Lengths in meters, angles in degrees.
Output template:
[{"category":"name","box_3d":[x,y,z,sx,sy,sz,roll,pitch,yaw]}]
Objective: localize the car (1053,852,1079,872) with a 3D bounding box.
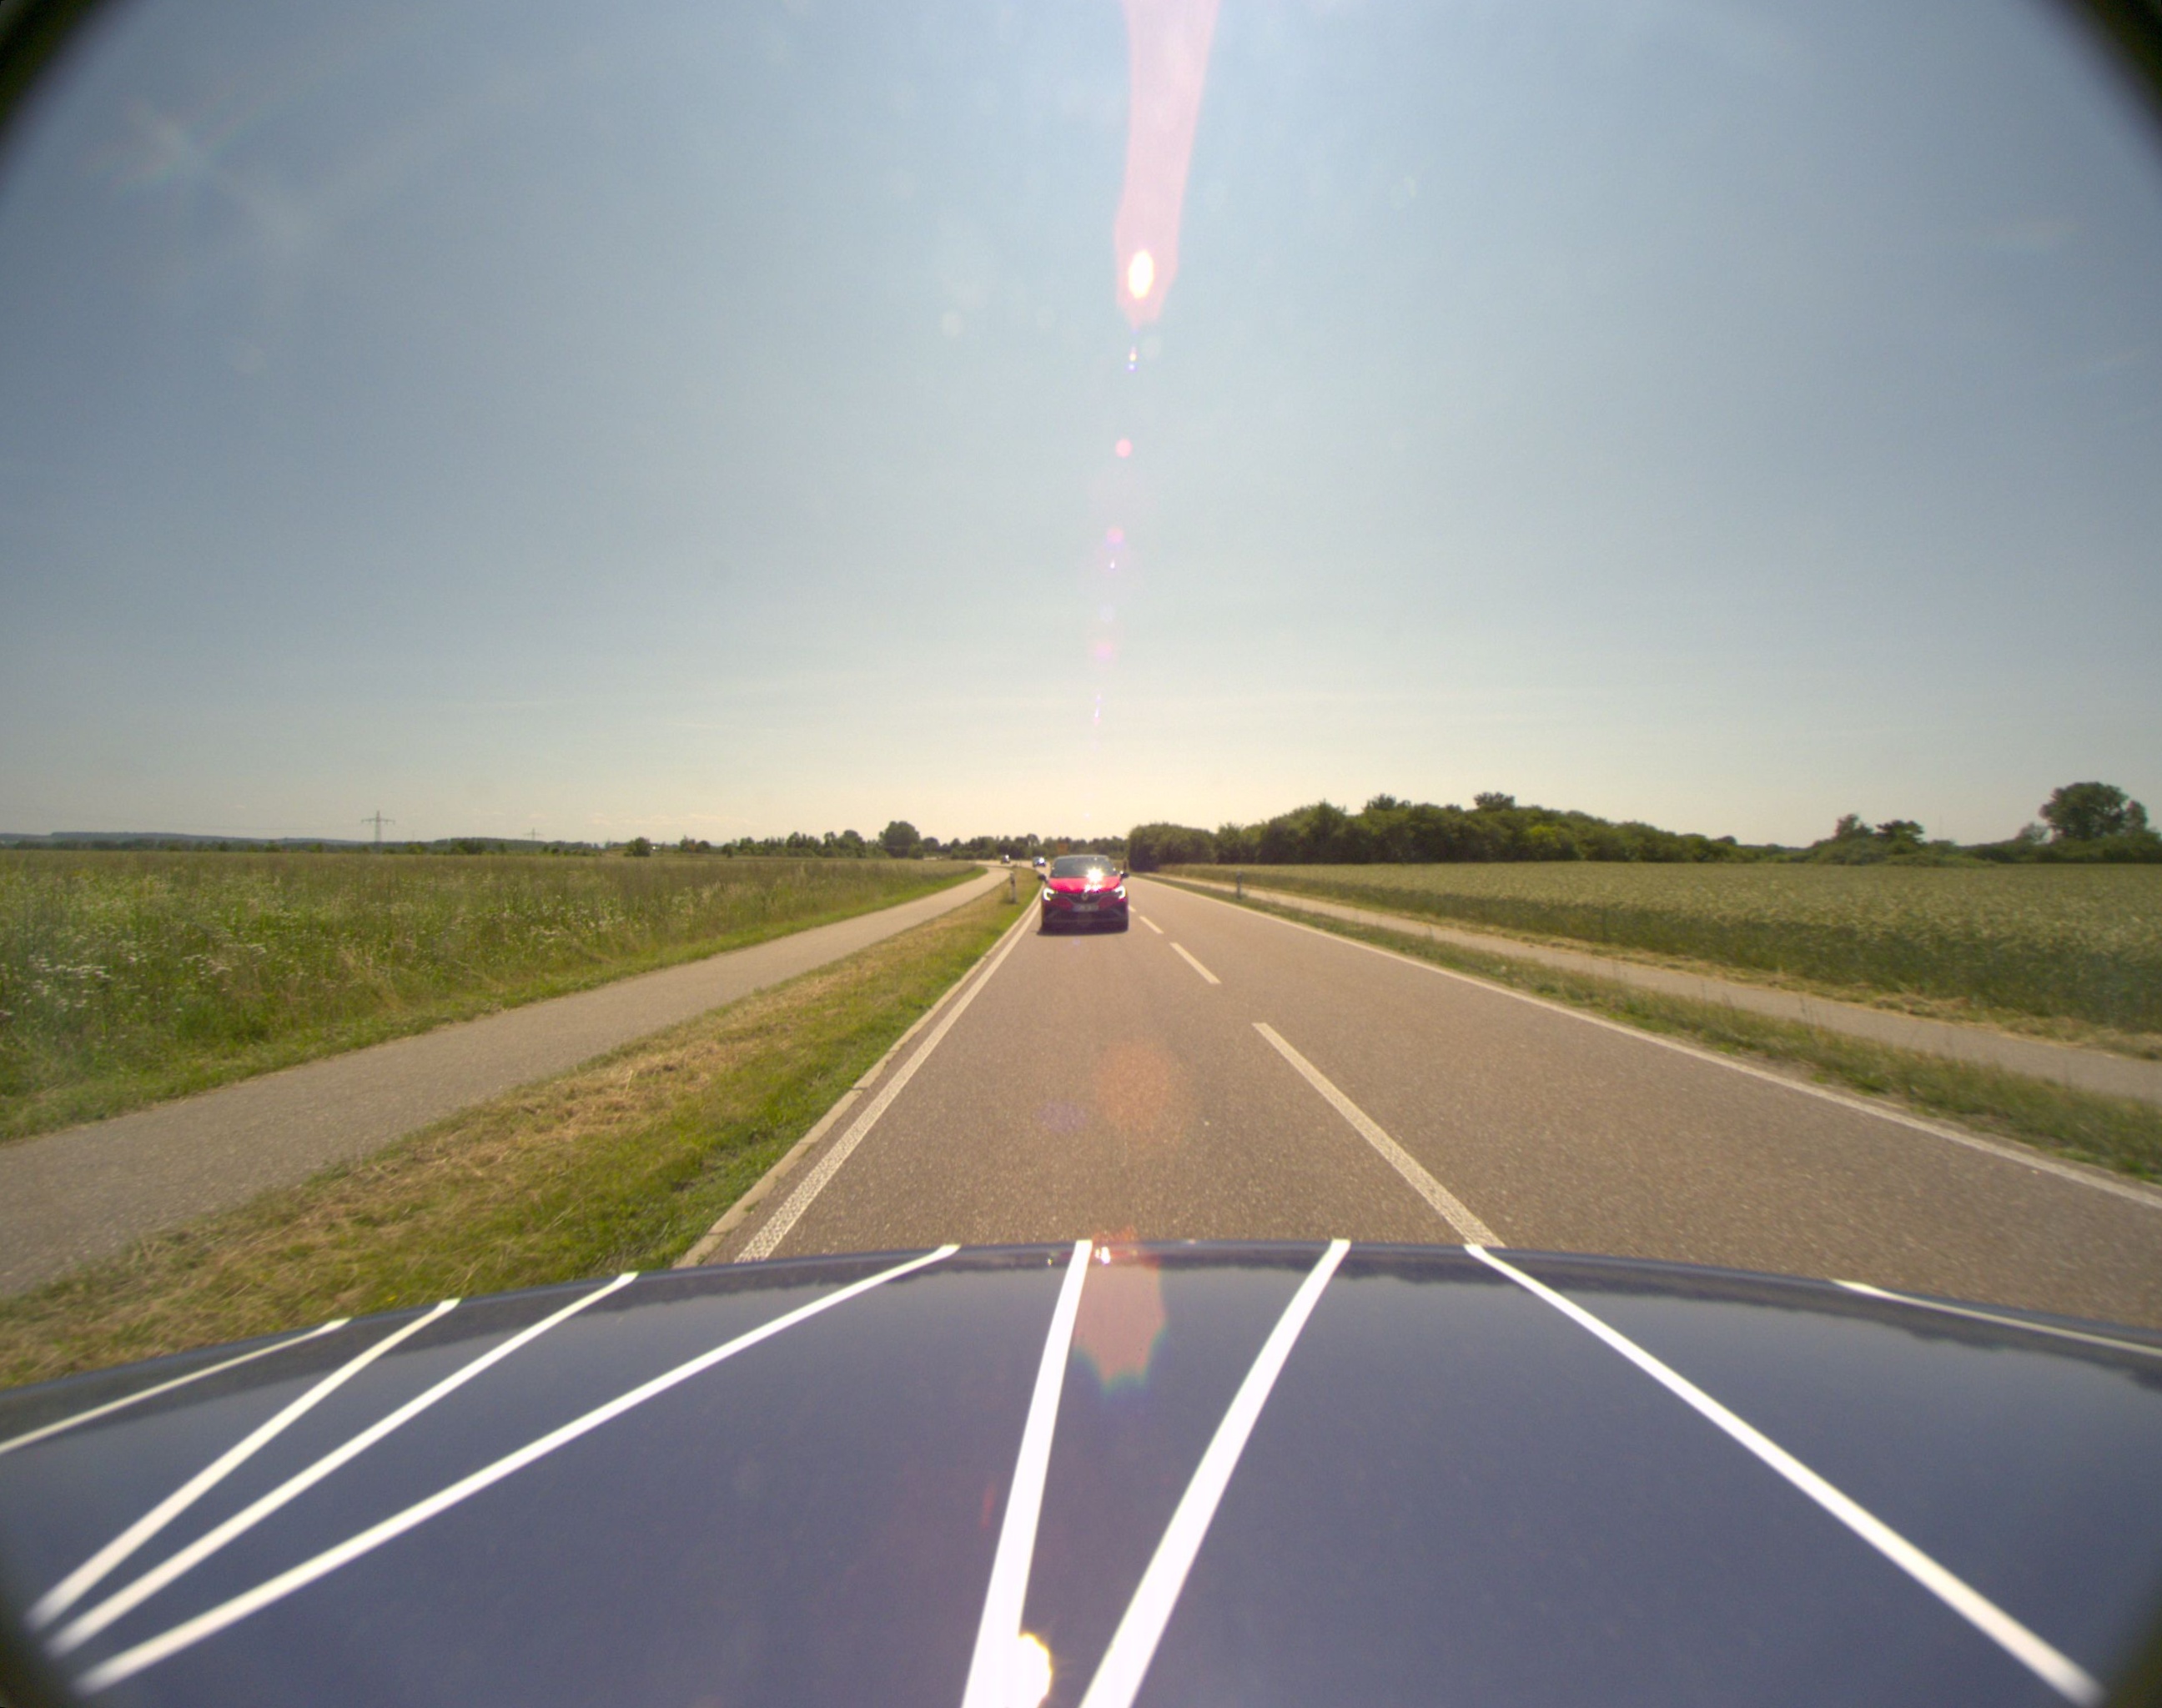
[{"category":"car","box_3d":[-1.328,0.620,64.330,1.984,1.587,5.400,-1,0,-4]}]

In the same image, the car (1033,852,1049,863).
[{"category":"car","box_3d":[-5.972,0.498,112.771,1.984,1.587,5.398,-1,0,-8]}]

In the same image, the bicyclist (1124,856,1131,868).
[{"category":"bicyclist","box_3d":[5.515,0.963,90.847,0.666,1.430,0.822,-1,1,-5]}]

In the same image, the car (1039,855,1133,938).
[{"category":"car","box_3d":[0.082,0.845,17.414,1.837,1.587,4.721,-1,0,-1]}]

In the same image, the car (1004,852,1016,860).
[{"category":"car","box_3d":[-15.649,0.379,167.066,1.985,1.587,5.396,-1,0,-11]}]

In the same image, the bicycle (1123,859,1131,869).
[{"category":"bicycle","box_3d":[5.512,1.165,90.958,0.696,1.169,1.962,0,0,-5]}]
